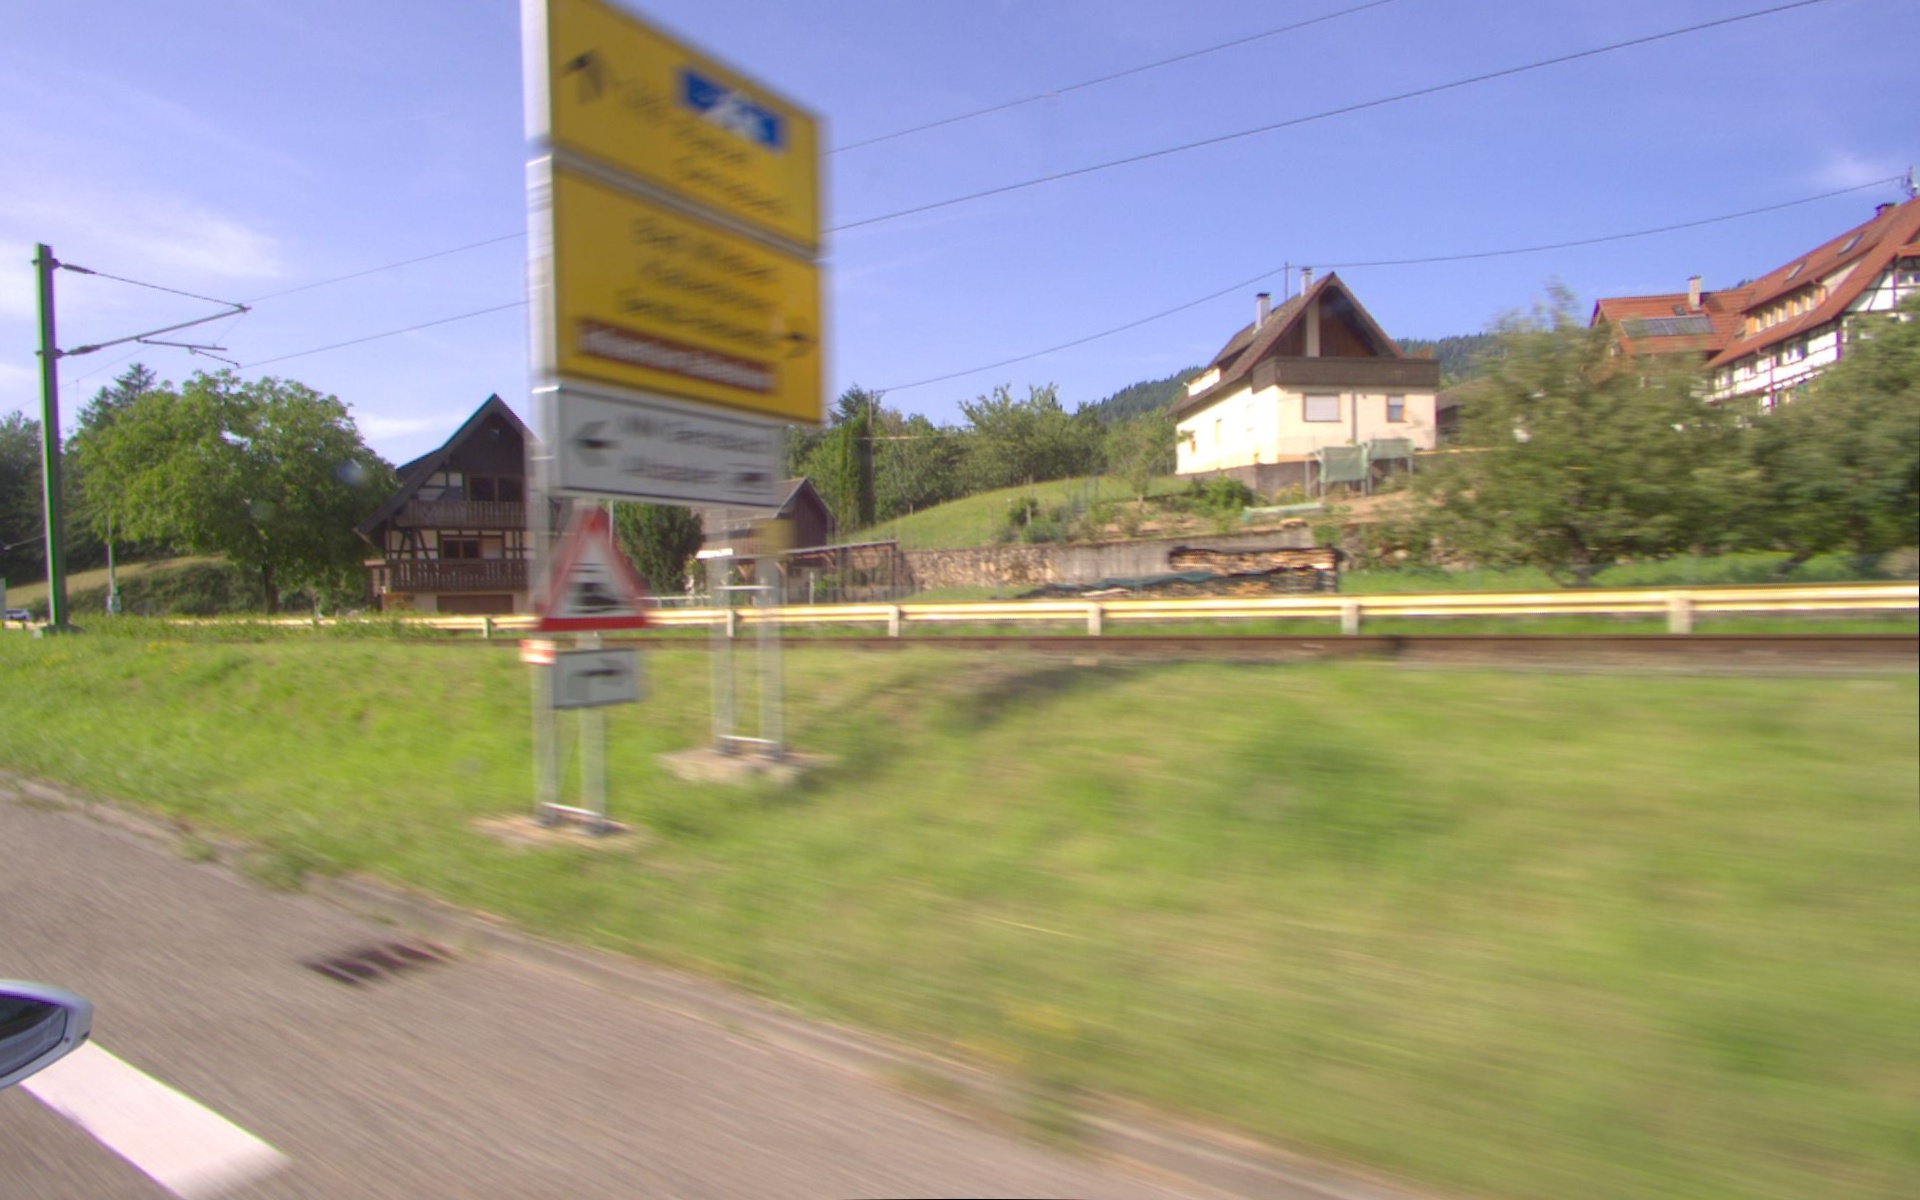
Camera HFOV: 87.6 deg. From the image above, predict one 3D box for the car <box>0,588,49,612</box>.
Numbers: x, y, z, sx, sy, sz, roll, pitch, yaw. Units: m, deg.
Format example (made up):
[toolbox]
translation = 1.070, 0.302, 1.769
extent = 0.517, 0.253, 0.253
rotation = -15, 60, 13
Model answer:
[car]
translation = -77.858, -0.004, 82.508
extent = 3.955, 1.907, 1.861
rotation = -1, 1, -41
